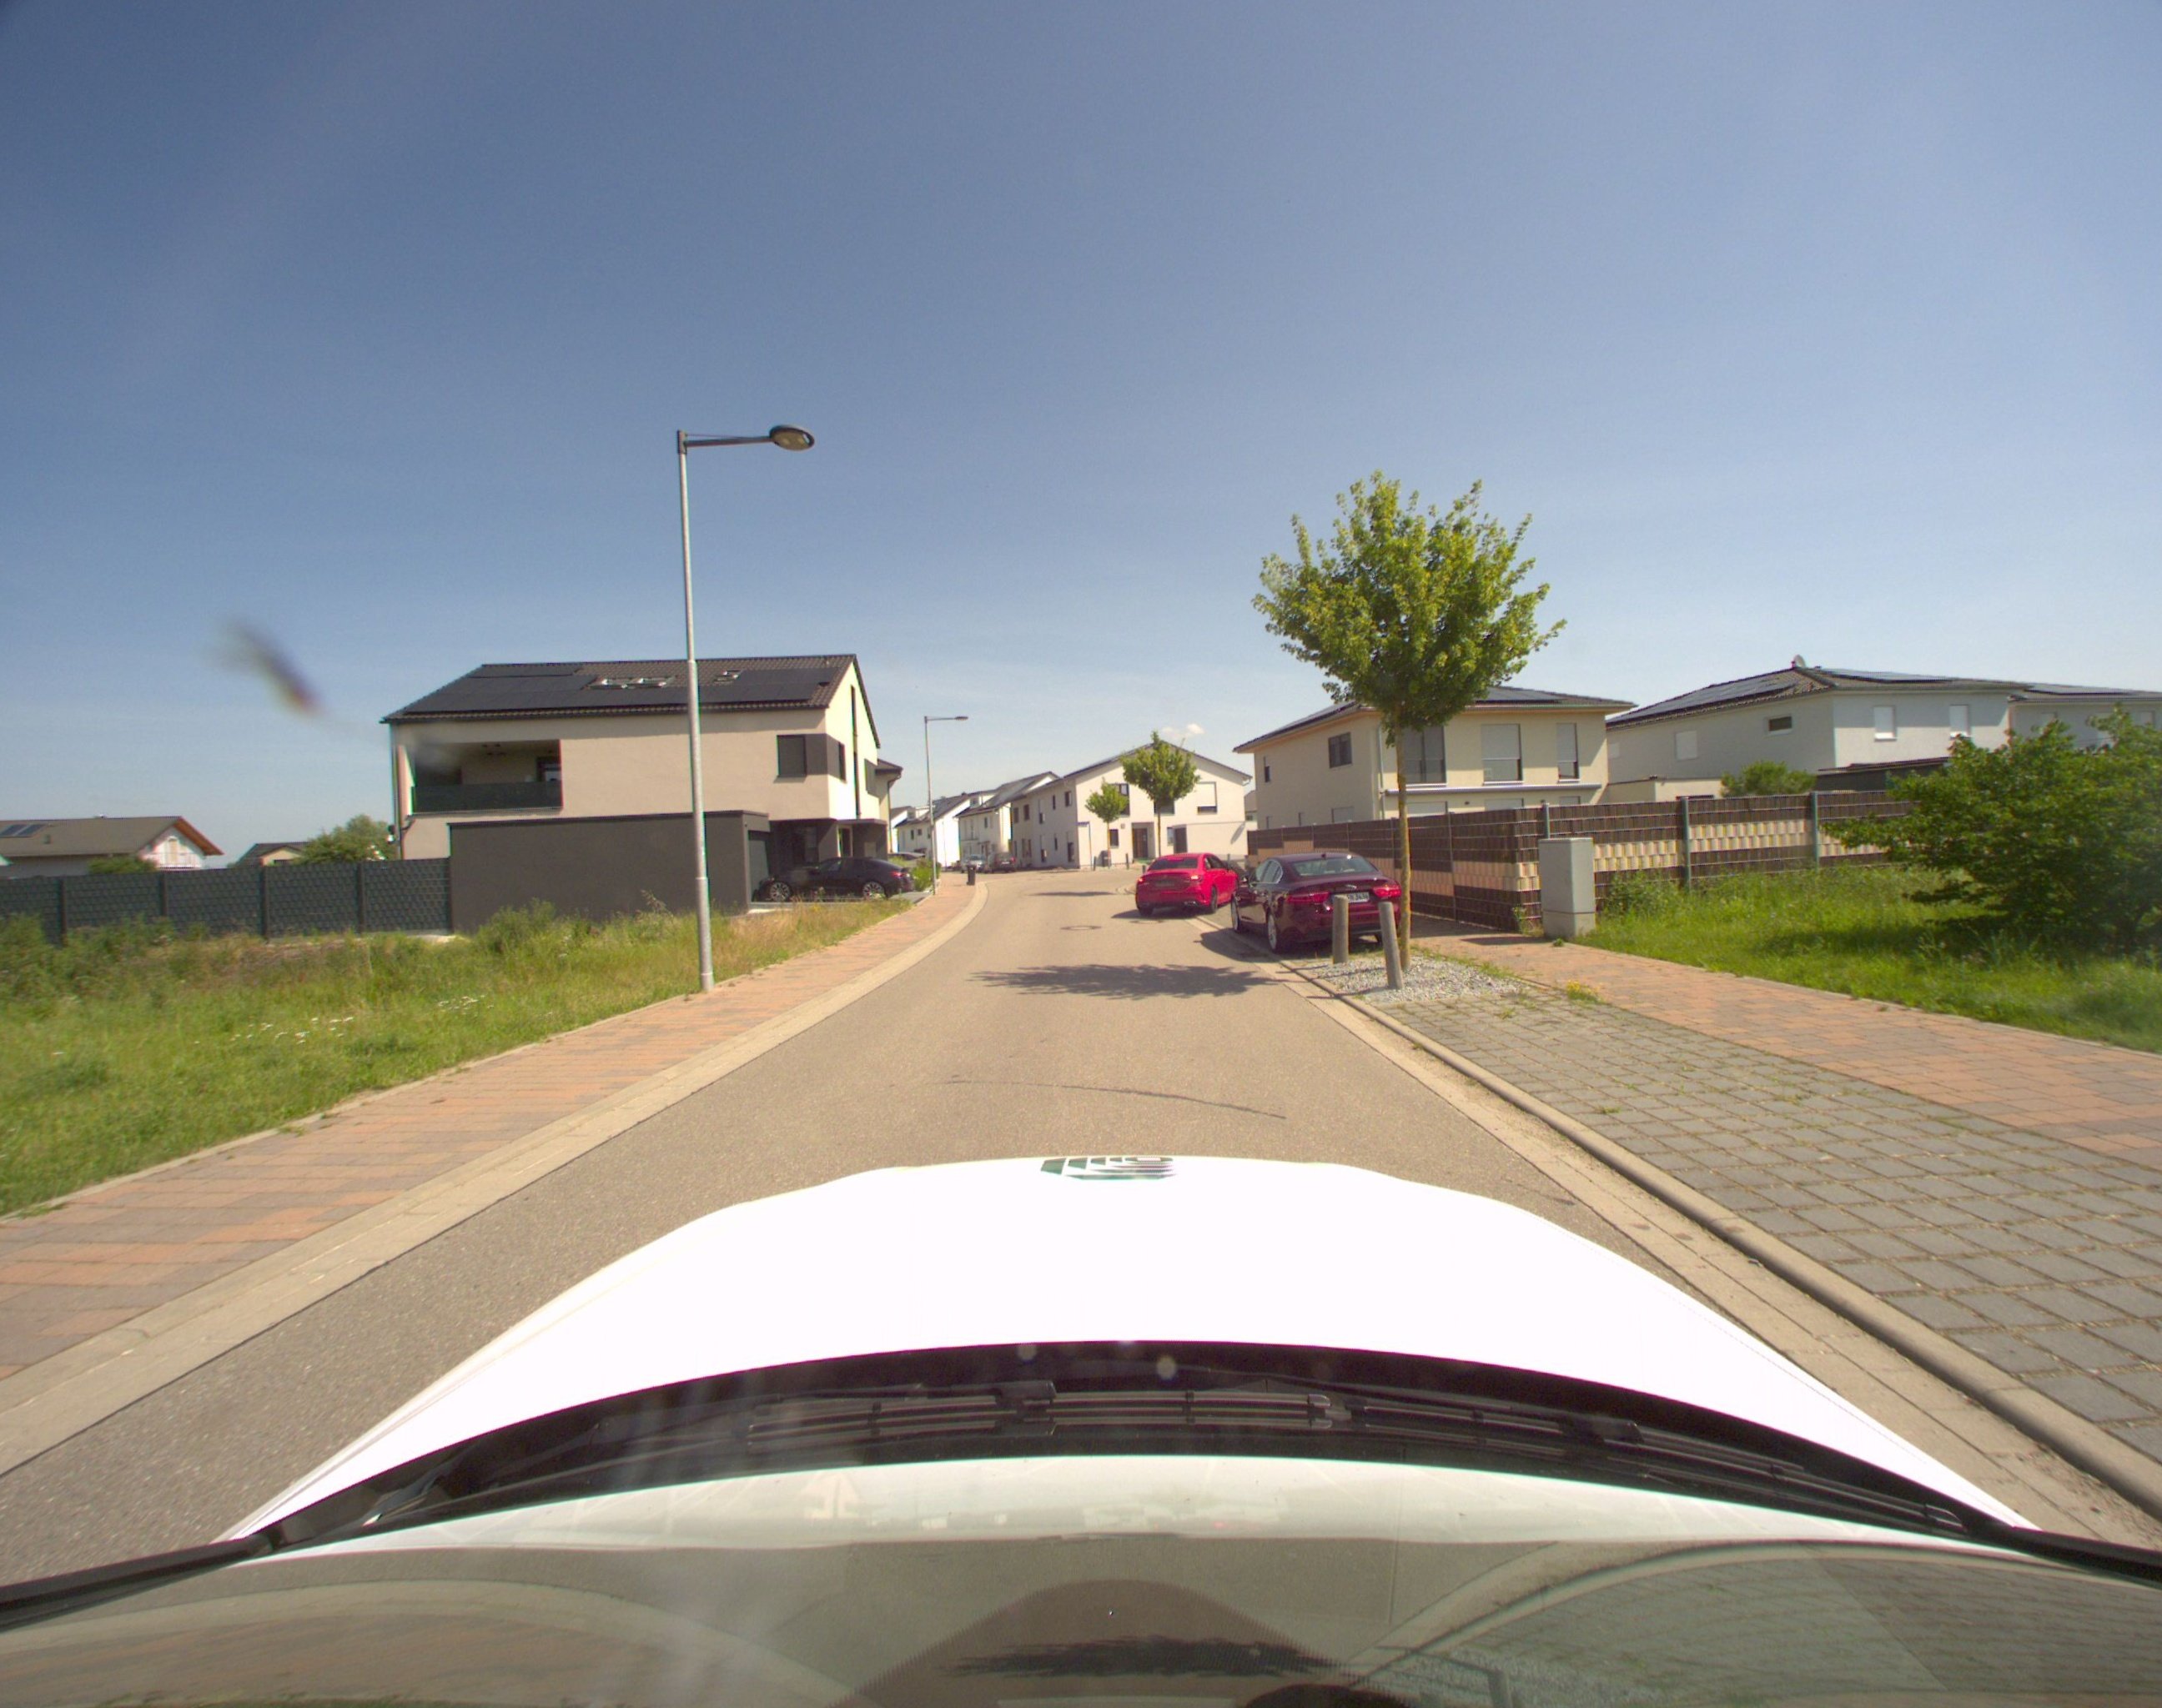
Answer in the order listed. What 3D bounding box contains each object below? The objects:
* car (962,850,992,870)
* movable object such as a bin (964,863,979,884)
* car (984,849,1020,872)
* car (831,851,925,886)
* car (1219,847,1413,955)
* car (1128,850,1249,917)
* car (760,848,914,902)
[{"bbox_3d":[-8.366,0.488,65.503,1.681,1.464,3.921,-3,0,-18],"label":"car"},{"bbox_3d":[-4.859,0.865,36.190,0.532,0.936,0.527,-1,0,5],"label":"movable object such as a bin"},{"bbox_3d":[-5.465,0.441,55.990,1.730,1.422,3.979,-3,0,-15],"label":"car"},{"bbox_3d":[-9.558,0.663,38.641,3.977,1.486,1.753,-2,0,-2],"label":"car"},{"bbox_3d":[3.543,0.614,13.220,1.749,1.363,4.574,-3,0,0],"label":"car"},{"bbox_3d":[2.816,0.660,20.322,1.747,1.438,4.545,-1,0,24],"label":"car"},{"bbox_3d":[-7.621,0.630,25.810,4.367,1.631,1.768,0,0,-4],"label":"car"}]
